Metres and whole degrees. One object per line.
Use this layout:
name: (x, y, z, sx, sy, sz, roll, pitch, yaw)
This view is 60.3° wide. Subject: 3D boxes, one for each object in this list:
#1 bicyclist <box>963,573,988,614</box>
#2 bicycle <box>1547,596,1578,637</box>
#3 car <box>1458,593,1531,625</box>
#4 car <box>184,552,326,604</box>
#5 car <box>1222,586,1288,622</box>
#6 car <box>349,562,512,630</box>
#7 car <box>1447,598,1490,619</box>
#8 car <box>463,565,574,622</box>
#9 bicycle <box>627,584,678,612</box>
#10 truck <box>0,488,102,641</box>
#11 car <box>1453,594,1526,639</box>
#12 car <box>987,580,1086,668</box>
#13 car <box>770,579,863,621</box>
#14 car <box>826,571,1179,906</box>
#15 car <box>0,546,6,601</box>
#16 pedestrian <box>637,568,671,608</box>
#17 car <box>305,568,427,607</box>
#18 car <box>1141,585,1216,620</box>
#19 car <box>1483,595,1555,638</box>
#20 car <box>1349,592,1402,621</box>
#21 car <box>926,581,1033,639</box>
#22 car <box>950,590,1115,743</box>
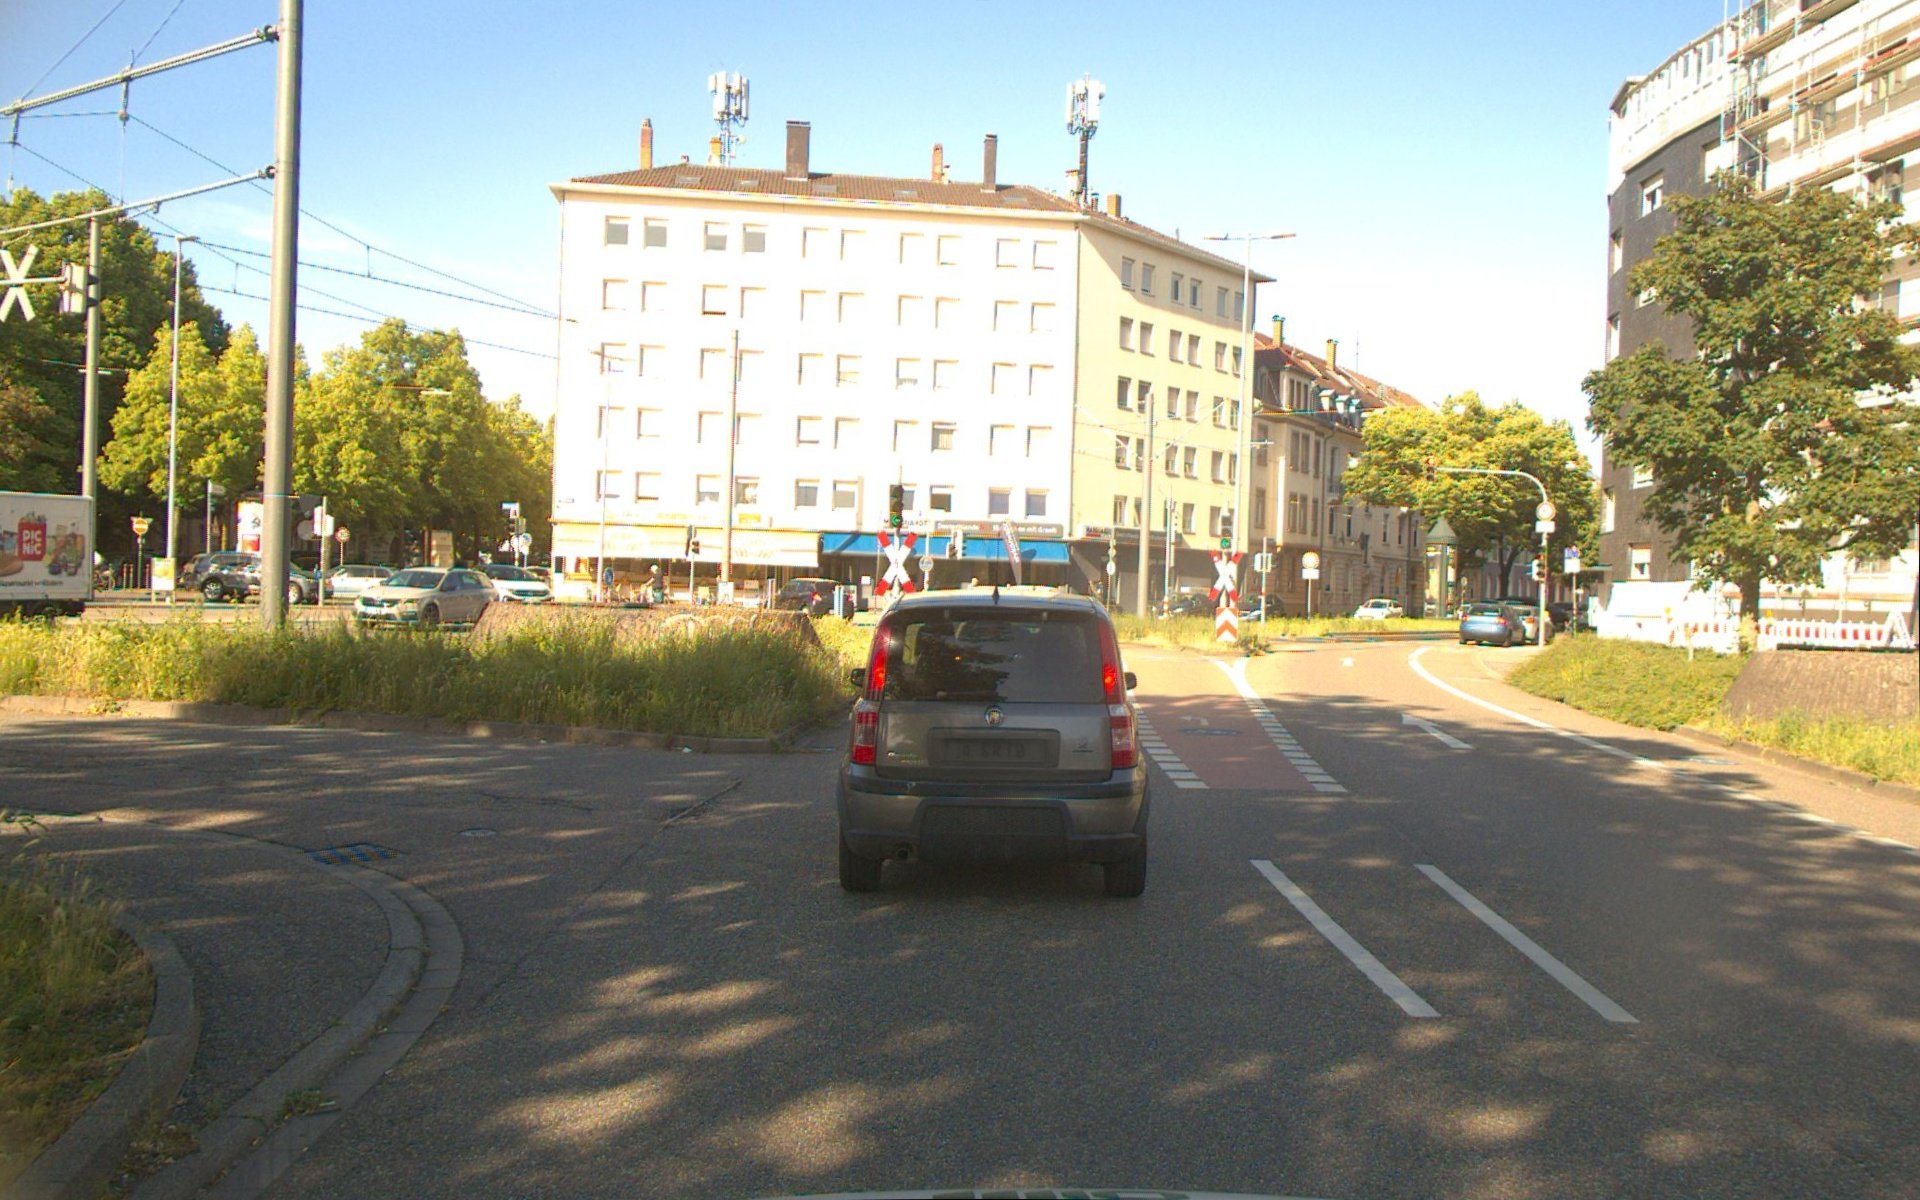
bicyclist: (0.616, -0.266, 65.857, 0.804, 1.586, 0.562, 2, 0, 22)
bicycle: (23.268, 0.635, 63.852, 0.562, 1.537, 2.801, 2, 0, 30)
car: (29.037, 0.475, 89.925, 1.873, 1.621, 3.984, 2, 1, -15)
car: (-24.057, -0.743, 56.545, 3.905, 1.599, 2.000, 2, 0, 1)
car: (13.865, 0.204, 77.661, 1.758, 1.593, 3.756, 2, 1, 32)
car: (-12.448, -0.097, 39.184, 1.627, 1.474, 4.406, 2, 0, 12)
car: (35.775, 0.598, 116.248, 1.957, 1.419, 3.991, 2, 1, 31)
car: (-13.633, -0.225, 50.920, 1.976, 1.589, 4.334, 2, 1, -34)
bicycle: (-11.729, -0.092, 63.075, 1.818, 0.968, 0.783, 3, -1, 34)
truck: (-16.376, -0.608, 27.114, 1.750, 2.469, 4.113, 2, 0, 14)
car: (18.838, 0.585, 58.761, 1.742, 1.467, 3.612, 3, 1, 29)
car: (1.477, 0.416, 31.671, 1.723, 1.512, 4.295, 2, 1, 3)
car: (-4.801, -0.025, 55.030, 1.673, 1.275, 3.589, 2, 0, -30)
car: (0.175, 0.639, 9.440, 1.626, 1.536, 3.251, 2, 1, -1)
car: (-28.103, -0.780, 44.508, 1.722, 1.514, 4.010, 5, 2, 19)
pedestrian: (-11.658, -0.458, 63.039, 0.919, 1.452, 0.774, 3, -1, 34)
car: (-22.101, -0.487, 61.691, 3.913, 1.264, 1.996, 2, 0, -9)
car: (9.300, 0.114, 70.123, 1.758, 1.420, 3.715, 2, 1, 32)
car: (21.330, 0.607, 63.016, 1.786, 1.534, 3.992, 2, 1, 30)
car: (22.780, 0.372, 90.575, 1.758, 1.508, 3.522, 2, 1, 32)
car: (0.508, 0.254, 45.555, 1.625, 1.463, 3.369, 2, 1, -25)
car: (0.811, 0.648, 18.250, 1.587, 1.454, 3.690, 2, 1, 3)
